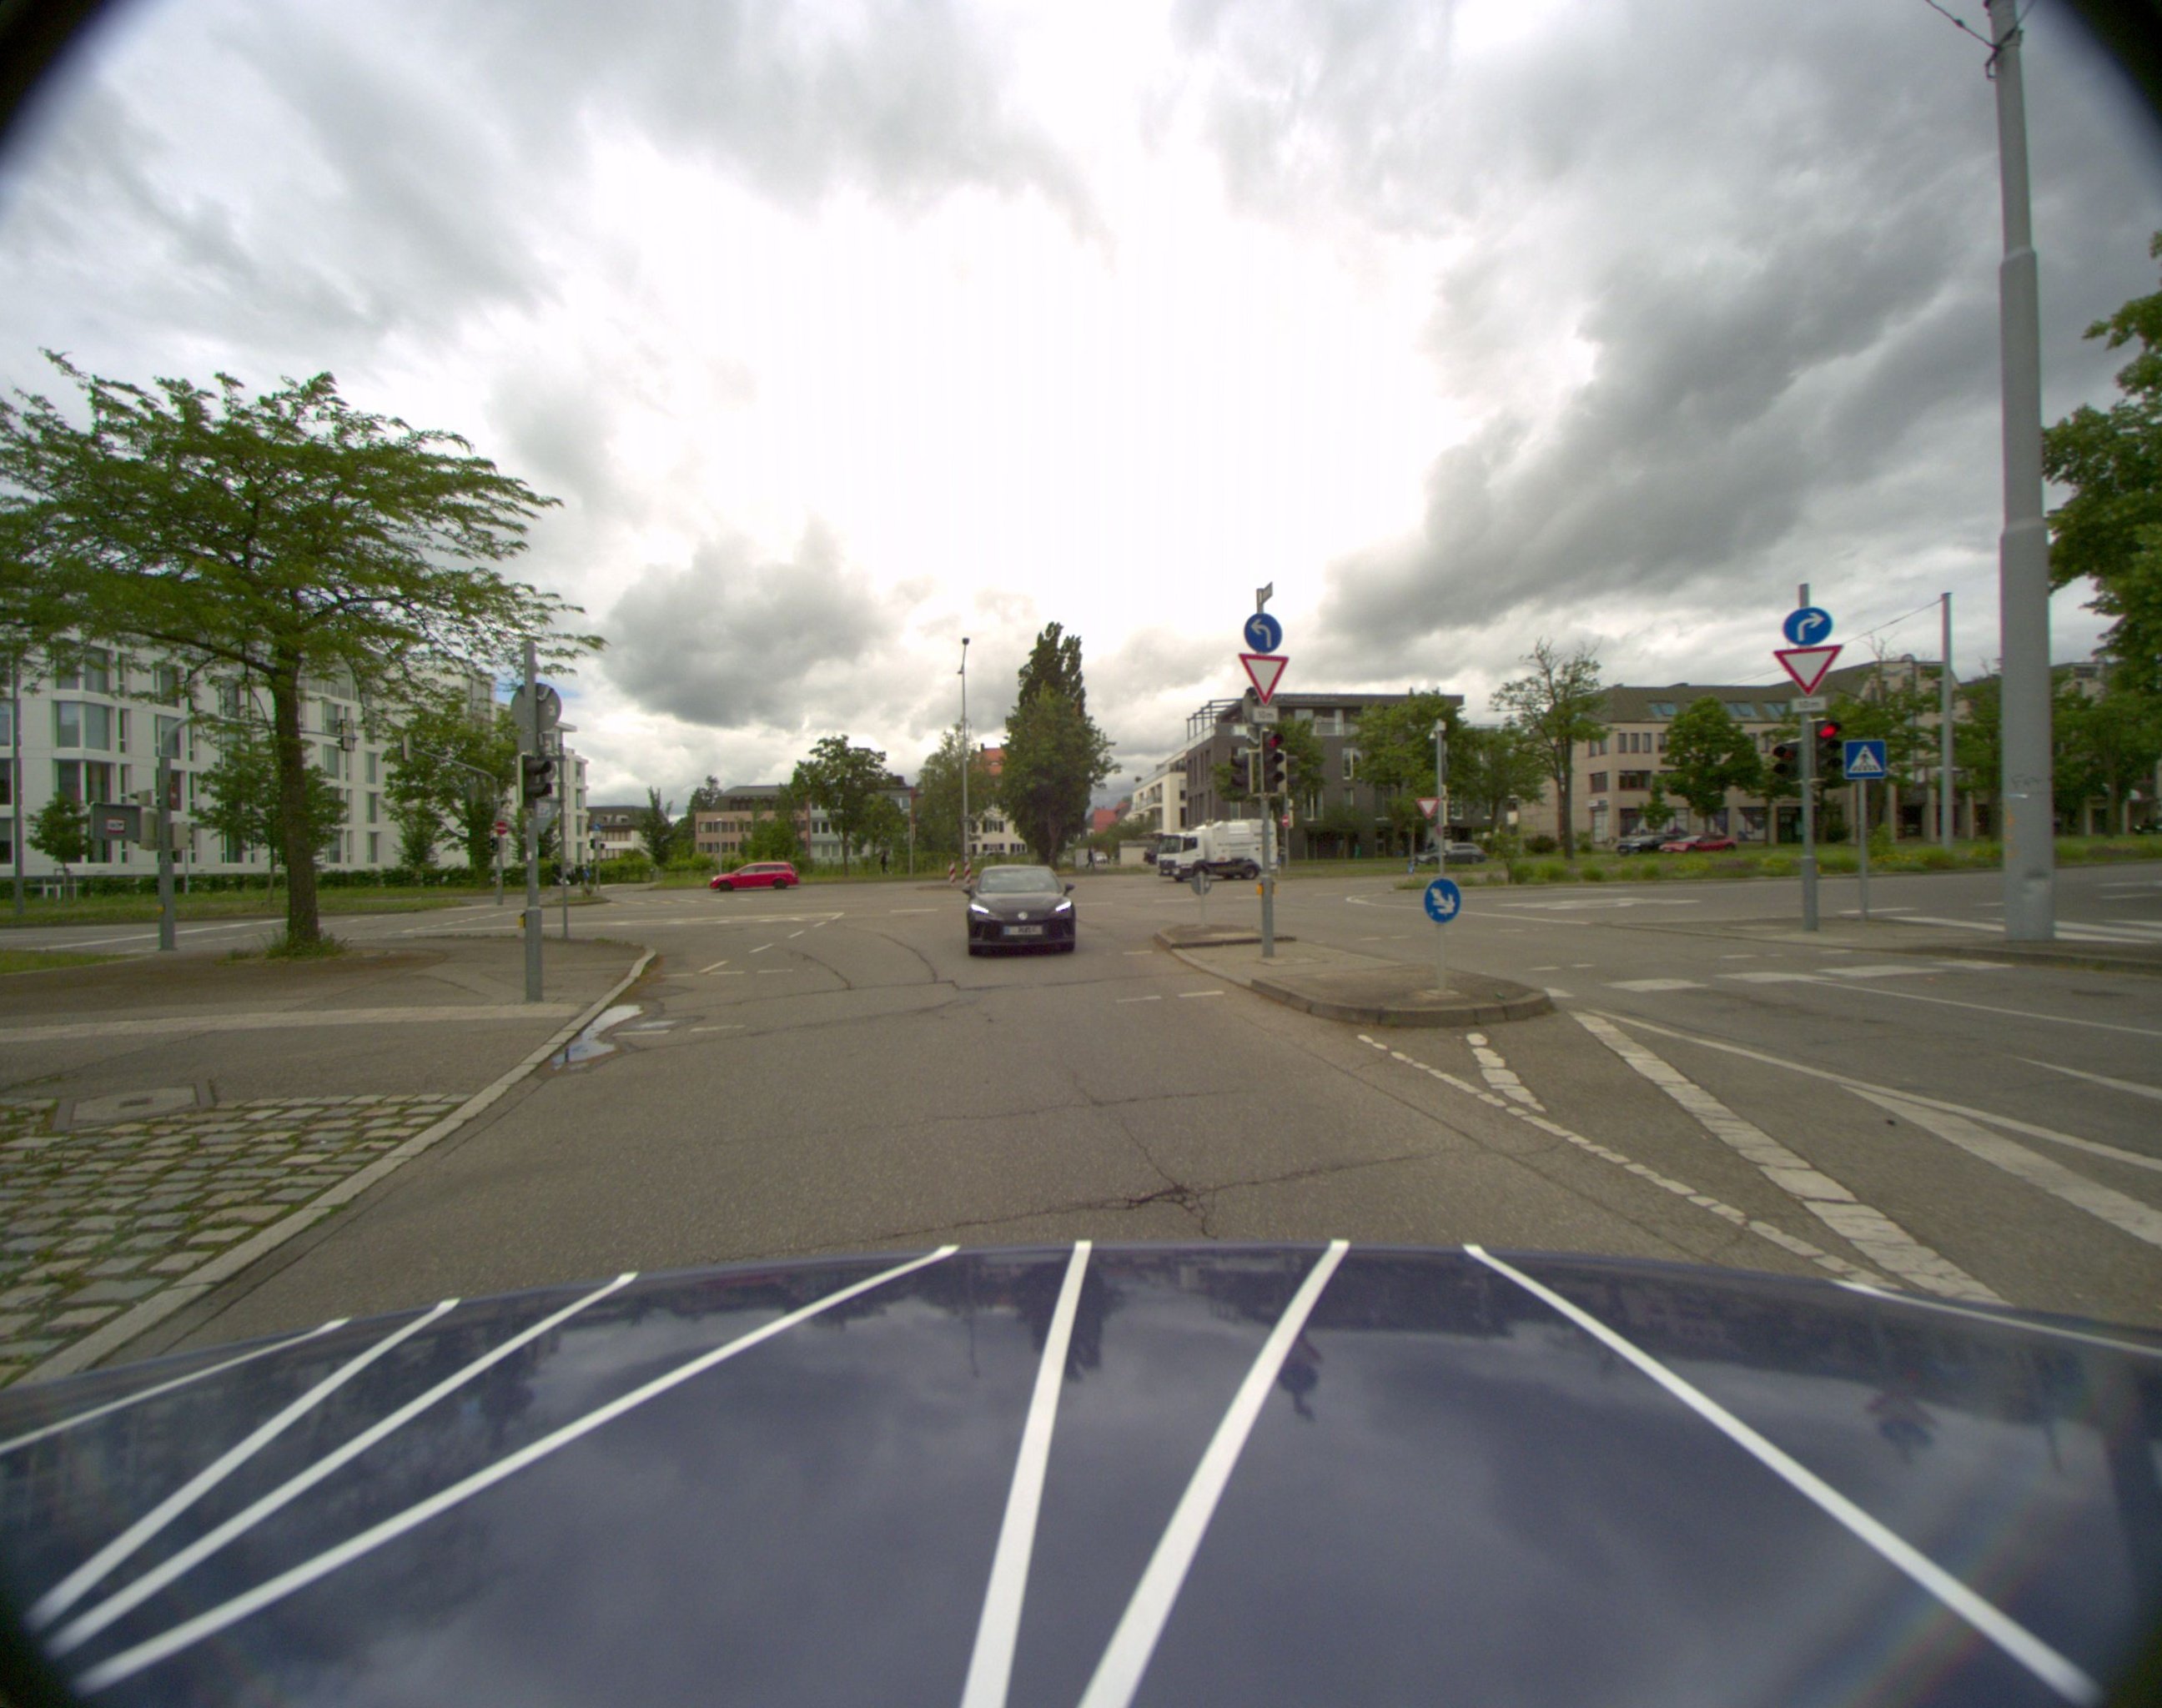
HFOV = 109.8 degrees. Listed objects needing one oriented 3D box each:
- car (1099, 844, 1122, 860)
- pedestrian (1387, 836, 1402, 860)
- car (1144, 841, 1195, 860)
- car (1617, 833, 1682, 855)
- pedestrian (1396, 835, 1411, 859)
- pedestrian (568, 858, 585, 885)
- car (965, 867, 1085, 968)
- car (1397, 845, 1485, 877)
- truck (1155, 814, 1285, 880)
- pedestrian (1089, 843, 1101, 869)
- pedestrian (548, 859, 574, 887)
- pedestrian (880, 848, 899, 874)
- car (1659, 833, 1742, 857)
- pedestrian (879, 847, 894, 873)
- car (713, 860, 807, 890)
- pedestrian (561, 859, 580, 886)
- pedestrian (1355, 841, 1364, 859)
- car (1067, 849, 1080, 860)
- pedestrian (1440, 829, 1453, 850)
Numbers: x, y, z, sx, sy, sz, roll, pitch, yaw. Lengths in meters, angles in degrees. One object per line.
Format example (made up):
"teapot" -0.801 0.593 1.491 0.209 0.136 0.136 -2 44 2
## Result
"car" 3.366 -0.217 86.973 1.877 1.630 3.826 -3 -1 -9
"pedestrian" 23.823 -0.467 57.757 0.698 1.735 0.693 -3 0 -13
"car" 7.715 -0.270 66.524 4.124 1.591 1.999 -1 -1 -6
"car" 39.778 -0.701 53.159 3.906 1.477 1.769 0 -1 -19
"pedestrian" 24.226 -0.499 57.097 0.649 1.735 0.693 -3 0 -13
"pedestrian" -31.595 1.095 47.581 0.660 1.616 0.689 -3 0 41
"car" -1.176 1.023 13.963 1.801 1.475 4.017 -3 0 -9
"car" 22.459 0.438 47.463 4.605 1.685 1.998 -3 -1 -13
"truck" 7.367 -0.452 40.203 6.473 3.177 2.432 -2 3 -23
"pedestrian" 0.971 0.135 52.695 0.750 1.786 0.671 -3 0 -3
"pedestrian" -31.500 1.171 46.056 1.033 1.616 0.734 -3 0 15
"pedestrian" -12.764 0.480 50.620 1.004 1.685 0.607 -3 0 -24
"car" 40.825 -0.595 50.099 4.378 1.477 1.824 0 -1 -11
"pedestrian" -13.099 0.418 51.217 0.833 1.685 0.615 -3 0 -24
"car" -17.192 1.116 40.940 4.358 1.415 1.997 -2 1 -14
"pedestrian" -31.442 1.160 46.759 0.707 1.616 0.566 -3 0 15
"pedestrian" 21.377 -0.316 58.332 0.534 1.349 0.660 -3 0 18
"car" -1.154 0.094 120.042 1.956 1.542 3.964 -3 -1 -1
"pedestrian" 28.153 -1.112 58.531 0.598 1.610 0.693 -3 0 -9
